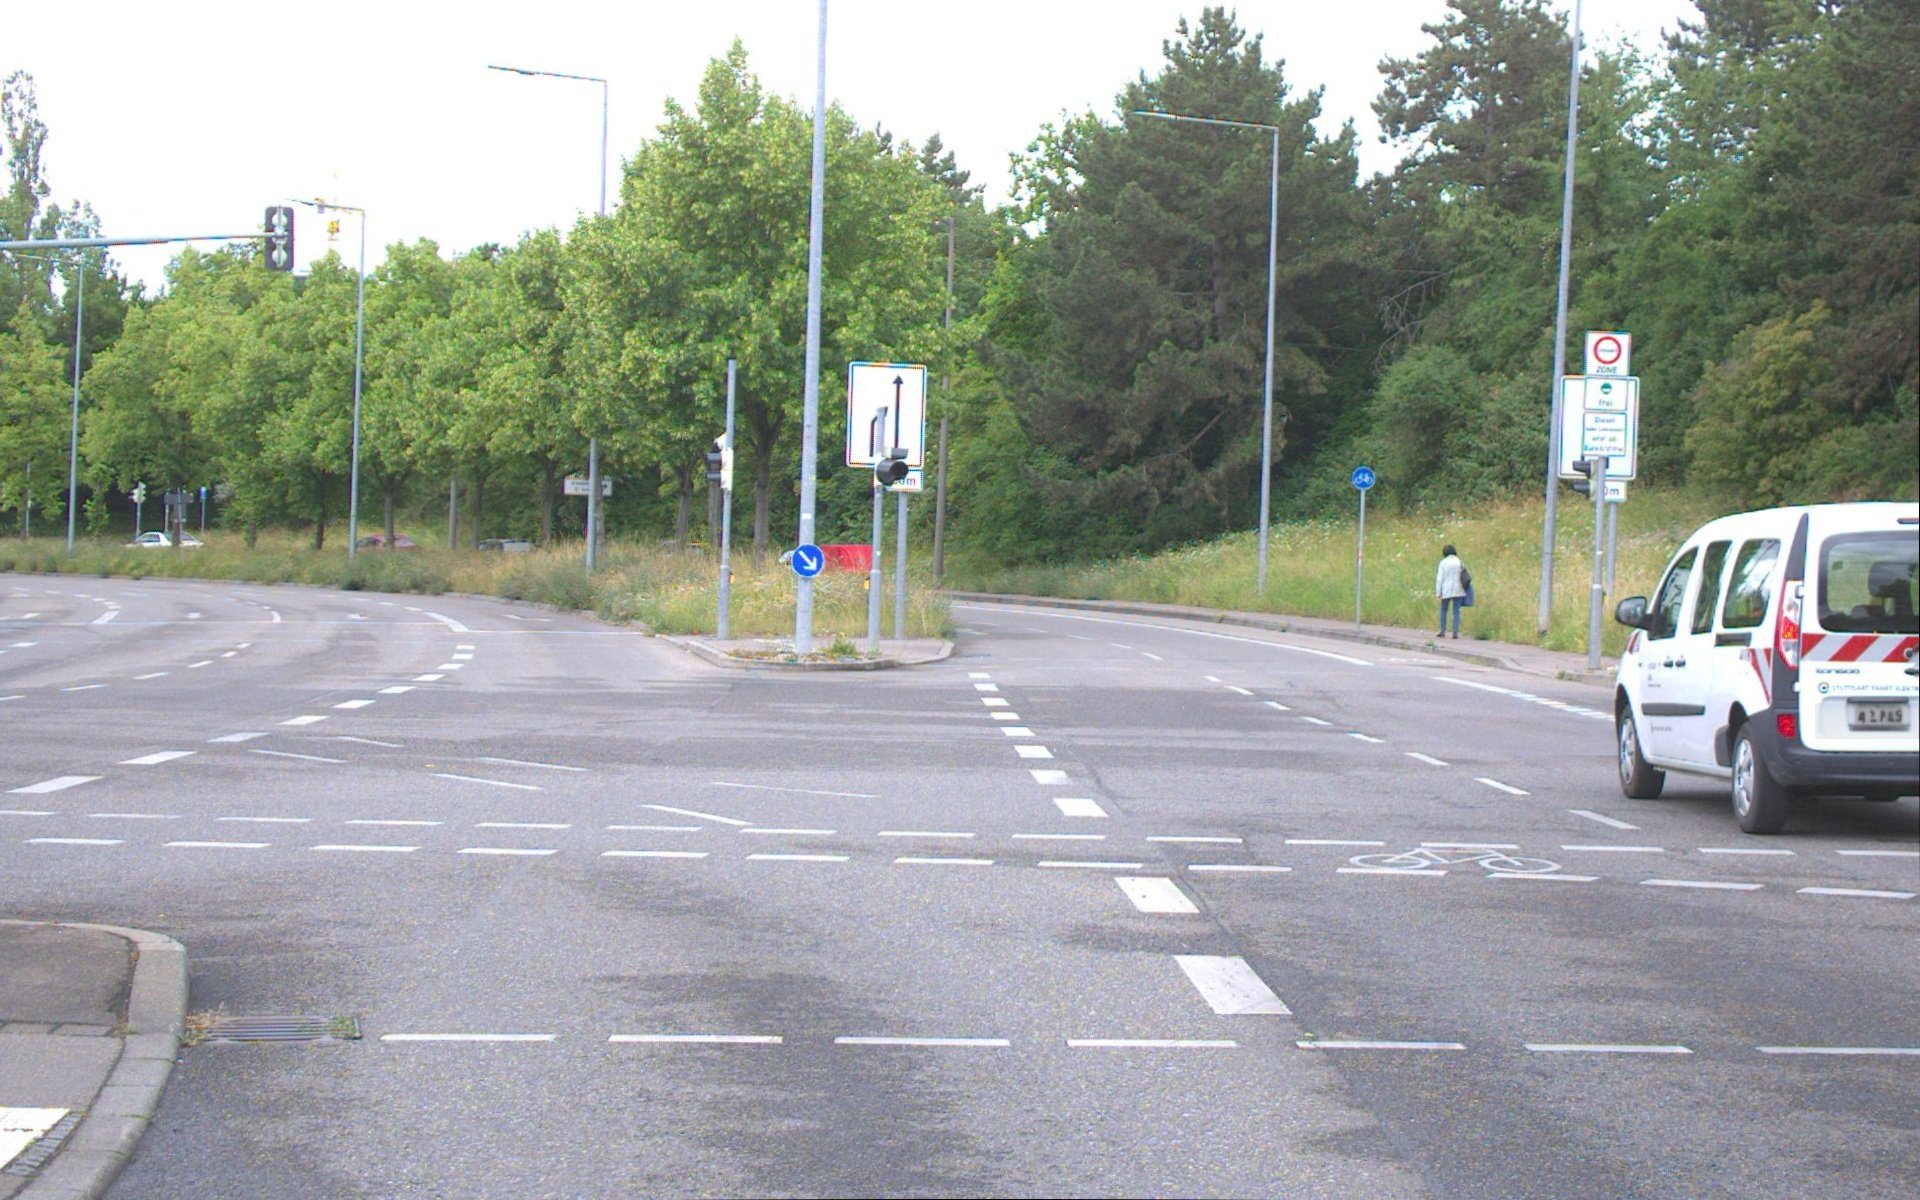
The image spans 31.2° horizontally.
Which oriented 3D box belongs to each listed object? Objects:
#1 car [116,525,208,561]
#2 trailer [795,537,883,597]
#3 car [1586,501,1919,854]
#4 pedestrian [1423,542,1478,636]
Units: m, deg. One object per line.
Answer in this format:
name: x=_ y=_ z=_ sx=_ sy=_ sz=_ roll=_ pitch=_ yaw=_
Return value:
car: x=-33.615 y=-2.403 z=144.755 sx=1.779 sy=1.416 sz=4.456 roll=0 pitch=2 yaw=-43
trailer: x=-3.377 y=-0.926 z=95.157 sx=1.764 sy=1.610 sz=3.045 roll=0 pitch=1 yaw=-15
car: x=5.072 y=0.380 z=19.954 sx=1.994 sy=1.796 sz=4.839 roll=0 pitch=0 yaw=0
pedestrian: x=8.625 y=-0.204 z=60.474 sx=0.814 sy=1.622 sz=0.791 roll=1 pitch=1 yaw=-1
